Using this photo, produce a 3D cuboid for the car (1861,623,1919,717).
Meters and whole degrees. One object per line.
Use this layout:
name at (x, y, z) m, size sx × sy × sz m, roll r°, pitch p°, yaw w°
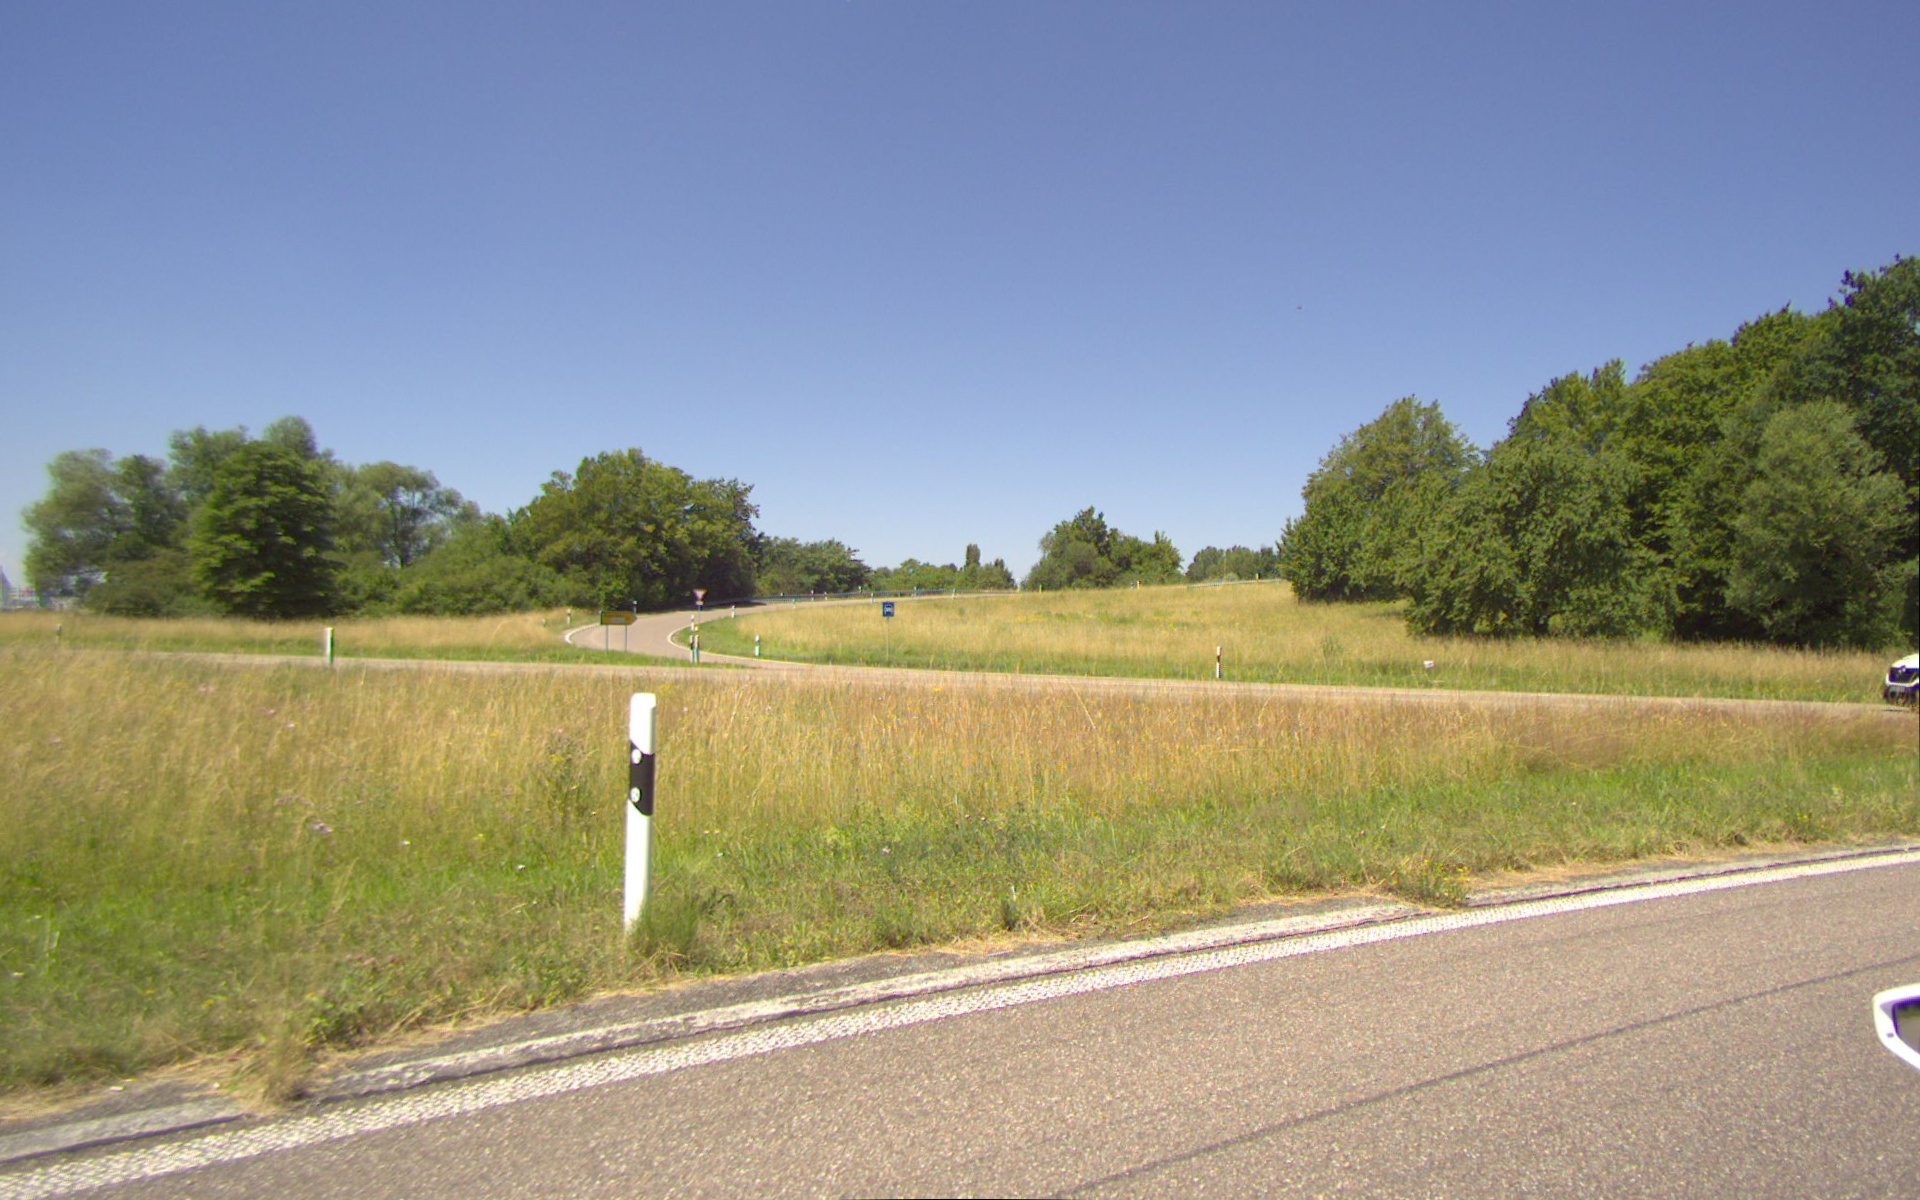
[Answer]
car at (22.974, 1.444, 21.392) m, size 5.285 × 1.986 × 1.916 m, roll -1°, pitch -2°, yaw 14°
